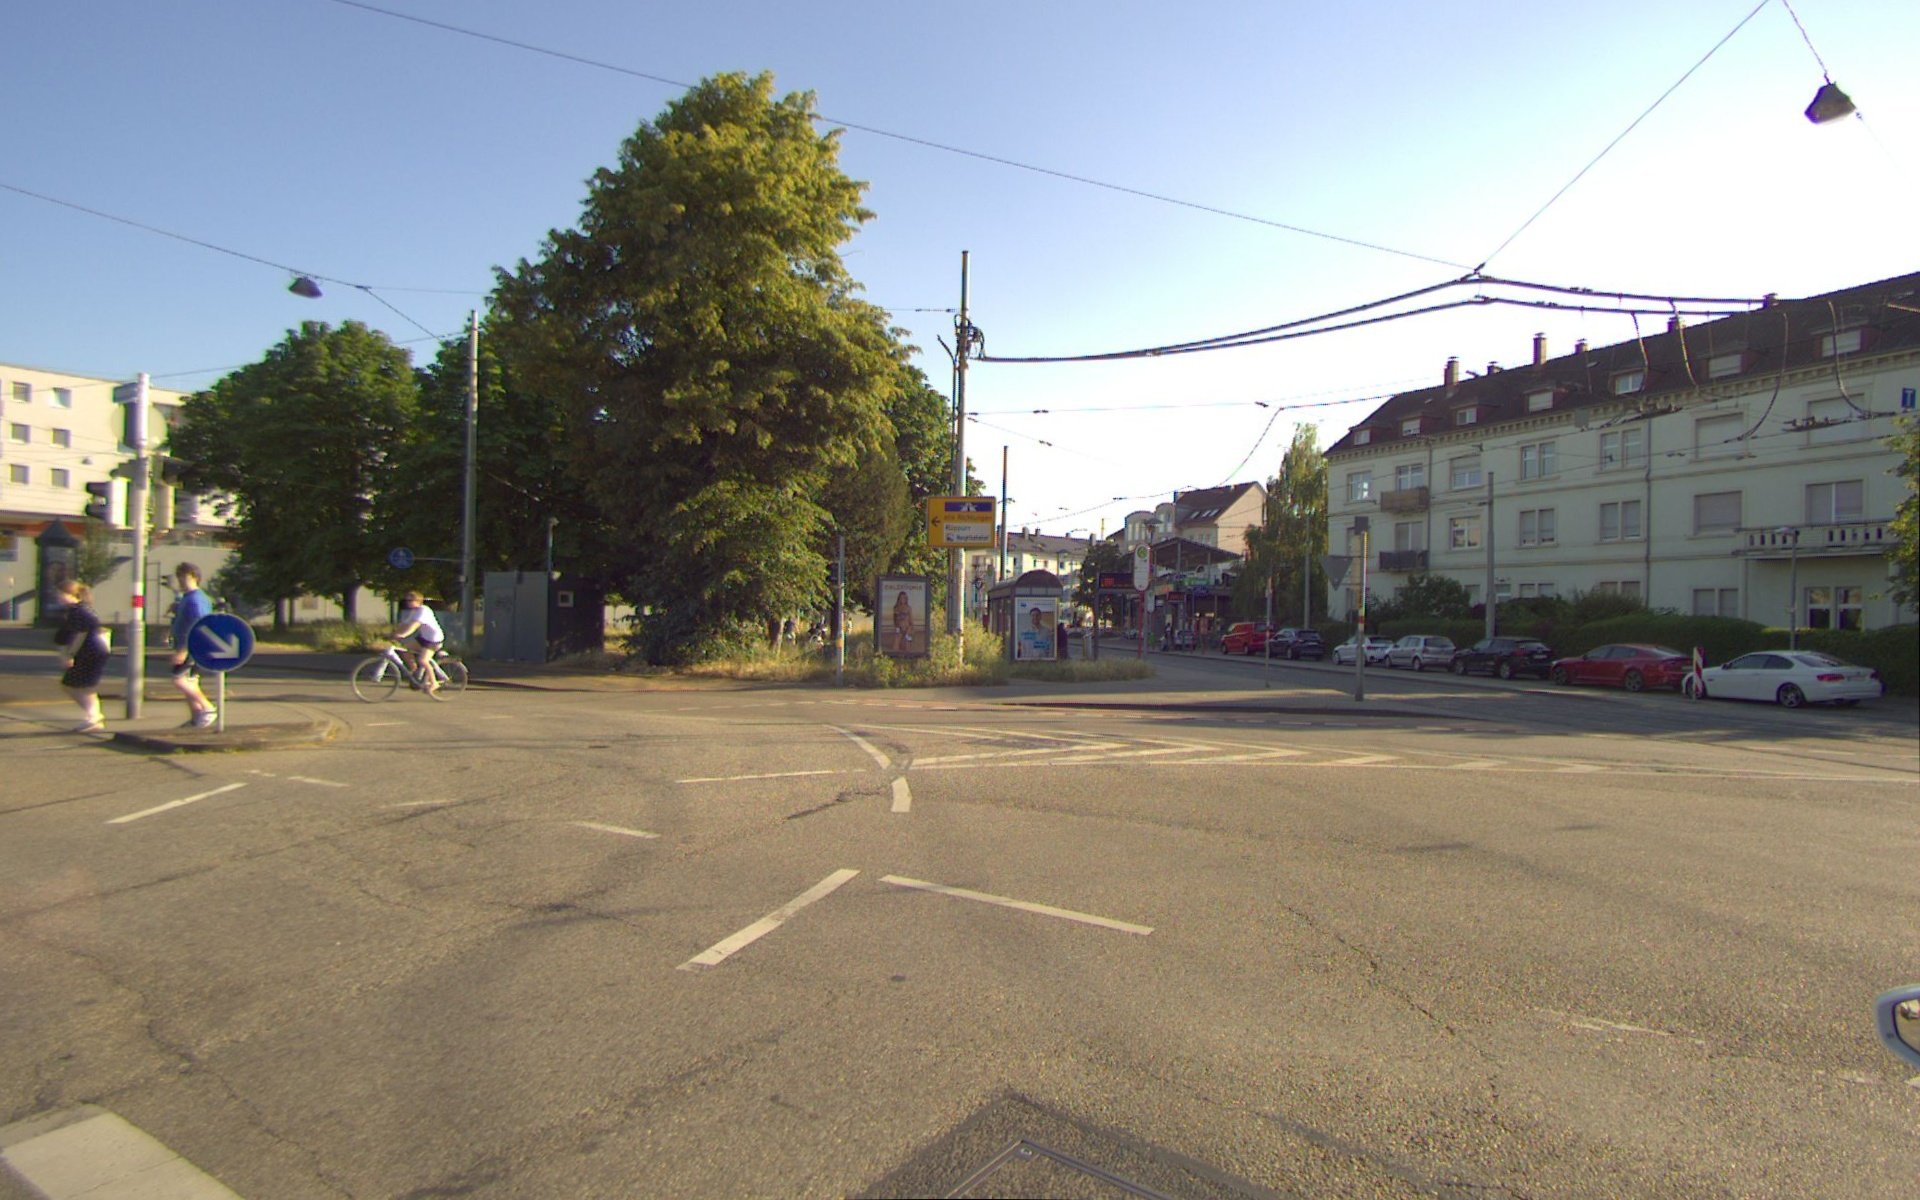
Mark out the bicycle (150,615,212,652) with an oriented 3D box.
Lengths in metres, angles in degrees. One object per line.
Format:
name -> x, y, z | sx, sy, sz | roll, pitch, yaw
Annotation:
bicycle -> -24.235, 1.022, 31.238 | 1.981, 1.083, 0.663 | 1, -1, 25

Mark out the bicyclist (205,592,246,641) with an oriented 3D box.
bicyclist -> -23.837, 0.521, 32.591 | 1.018, 1.552, 0.660 | 1, -1, 27

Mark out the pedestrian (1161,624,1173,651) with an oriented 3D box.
pedestrian -> 11.889, 2.167, 57.707 | 0.556, 1.520, 0.679 | 1, -1, 6

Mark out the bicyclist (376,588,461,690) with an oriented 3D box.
bicyclist -> -9.099, 0.639, 16.887 | 0.703, 1.651, 1.037 | 1, -1, 40

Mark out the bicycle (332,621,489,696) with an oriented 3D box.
bicycle -> -9.167, 0.955, 16.846 | 0.690, 1.157, 2.191 | 1, -1, 39

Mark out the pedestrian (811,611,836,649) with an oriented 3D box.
pedestrian -> -5.543, 1.207, 40.767 | 0.665, 1.512, 0.840 | 2, -2, -40

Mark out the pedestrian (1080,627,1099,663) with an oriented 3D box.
pedestrian -> 5.238, 1.817, 40.687 | 0.587, 1.446, 0.504 | 2, -1, -14

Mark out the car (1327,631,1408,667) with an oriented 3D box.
car -> 18.793, 2.230, 46.526 | 1.810, 1.467, 3.955 | -1, -1, -6

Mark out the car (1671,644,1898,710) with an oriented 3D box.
car -> 21.316, 1.928, 26.259 | 1.895, 1.395, 4.491 | -1, -1, -8

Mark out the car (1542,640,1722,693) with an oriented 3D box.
car -> 20.836, 2.019, 31.445 | 1.952, 1.395, 4.696 | -1, -1, -11

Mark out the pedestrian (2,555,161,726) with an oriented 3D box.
pedestrian -> -9.663, 0.432, 11.070 | 0.899, 1.770, 1.065 | 1, -1, 31

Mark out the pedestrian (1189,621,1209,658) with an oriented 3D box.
pedestrian -> 13.188, 2.182, 55.402 | 0.906, 2.040, 0.769 | 1, -1, -1

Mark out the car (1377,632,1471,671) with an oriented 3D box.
car -> 19.290, 2.123, 41.939 | 1.950, 1.467, 3.716 | -1, -1, -6

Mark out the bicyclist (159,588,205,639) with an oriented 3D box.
bicyclist -> -24.217, 0.427, 31.255 | 1.017, 1.552, 0.698 | 1, -1, 24

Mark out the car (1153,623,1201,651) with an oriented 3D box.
car -> 16.133, 2.716, 74.918 | 2.018, 1.988, 5.146 | -1, -1, -6

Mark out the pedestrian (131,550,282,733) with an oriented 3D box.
pedestrian -> -8.498, 0.451, 11.354 | 0.899, 1.950, 1.065 | 1, -1, 31

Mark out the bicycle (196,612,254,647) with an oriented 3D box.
bicycle -> -23.876, 0.951, 32.627 | 1.981, 1.083, 0.663 | 1, -1, 26

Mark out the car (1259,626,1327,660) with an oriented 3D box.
car -> 17.915, 2.296, 54.225 | 1.810, 1.690, 4.366 | -1, -1, -6

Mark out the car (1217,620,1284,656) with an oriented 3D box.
car -> 17.465, 2.242, 60.664 | 2.018, 1.988, 5.146 | -1, -1, -6

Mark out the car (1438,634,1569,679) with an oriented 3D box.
car -> 20.103, 2.050, 37.432 | 1.950, 1.467, 4.701 | -1, -1, -6
